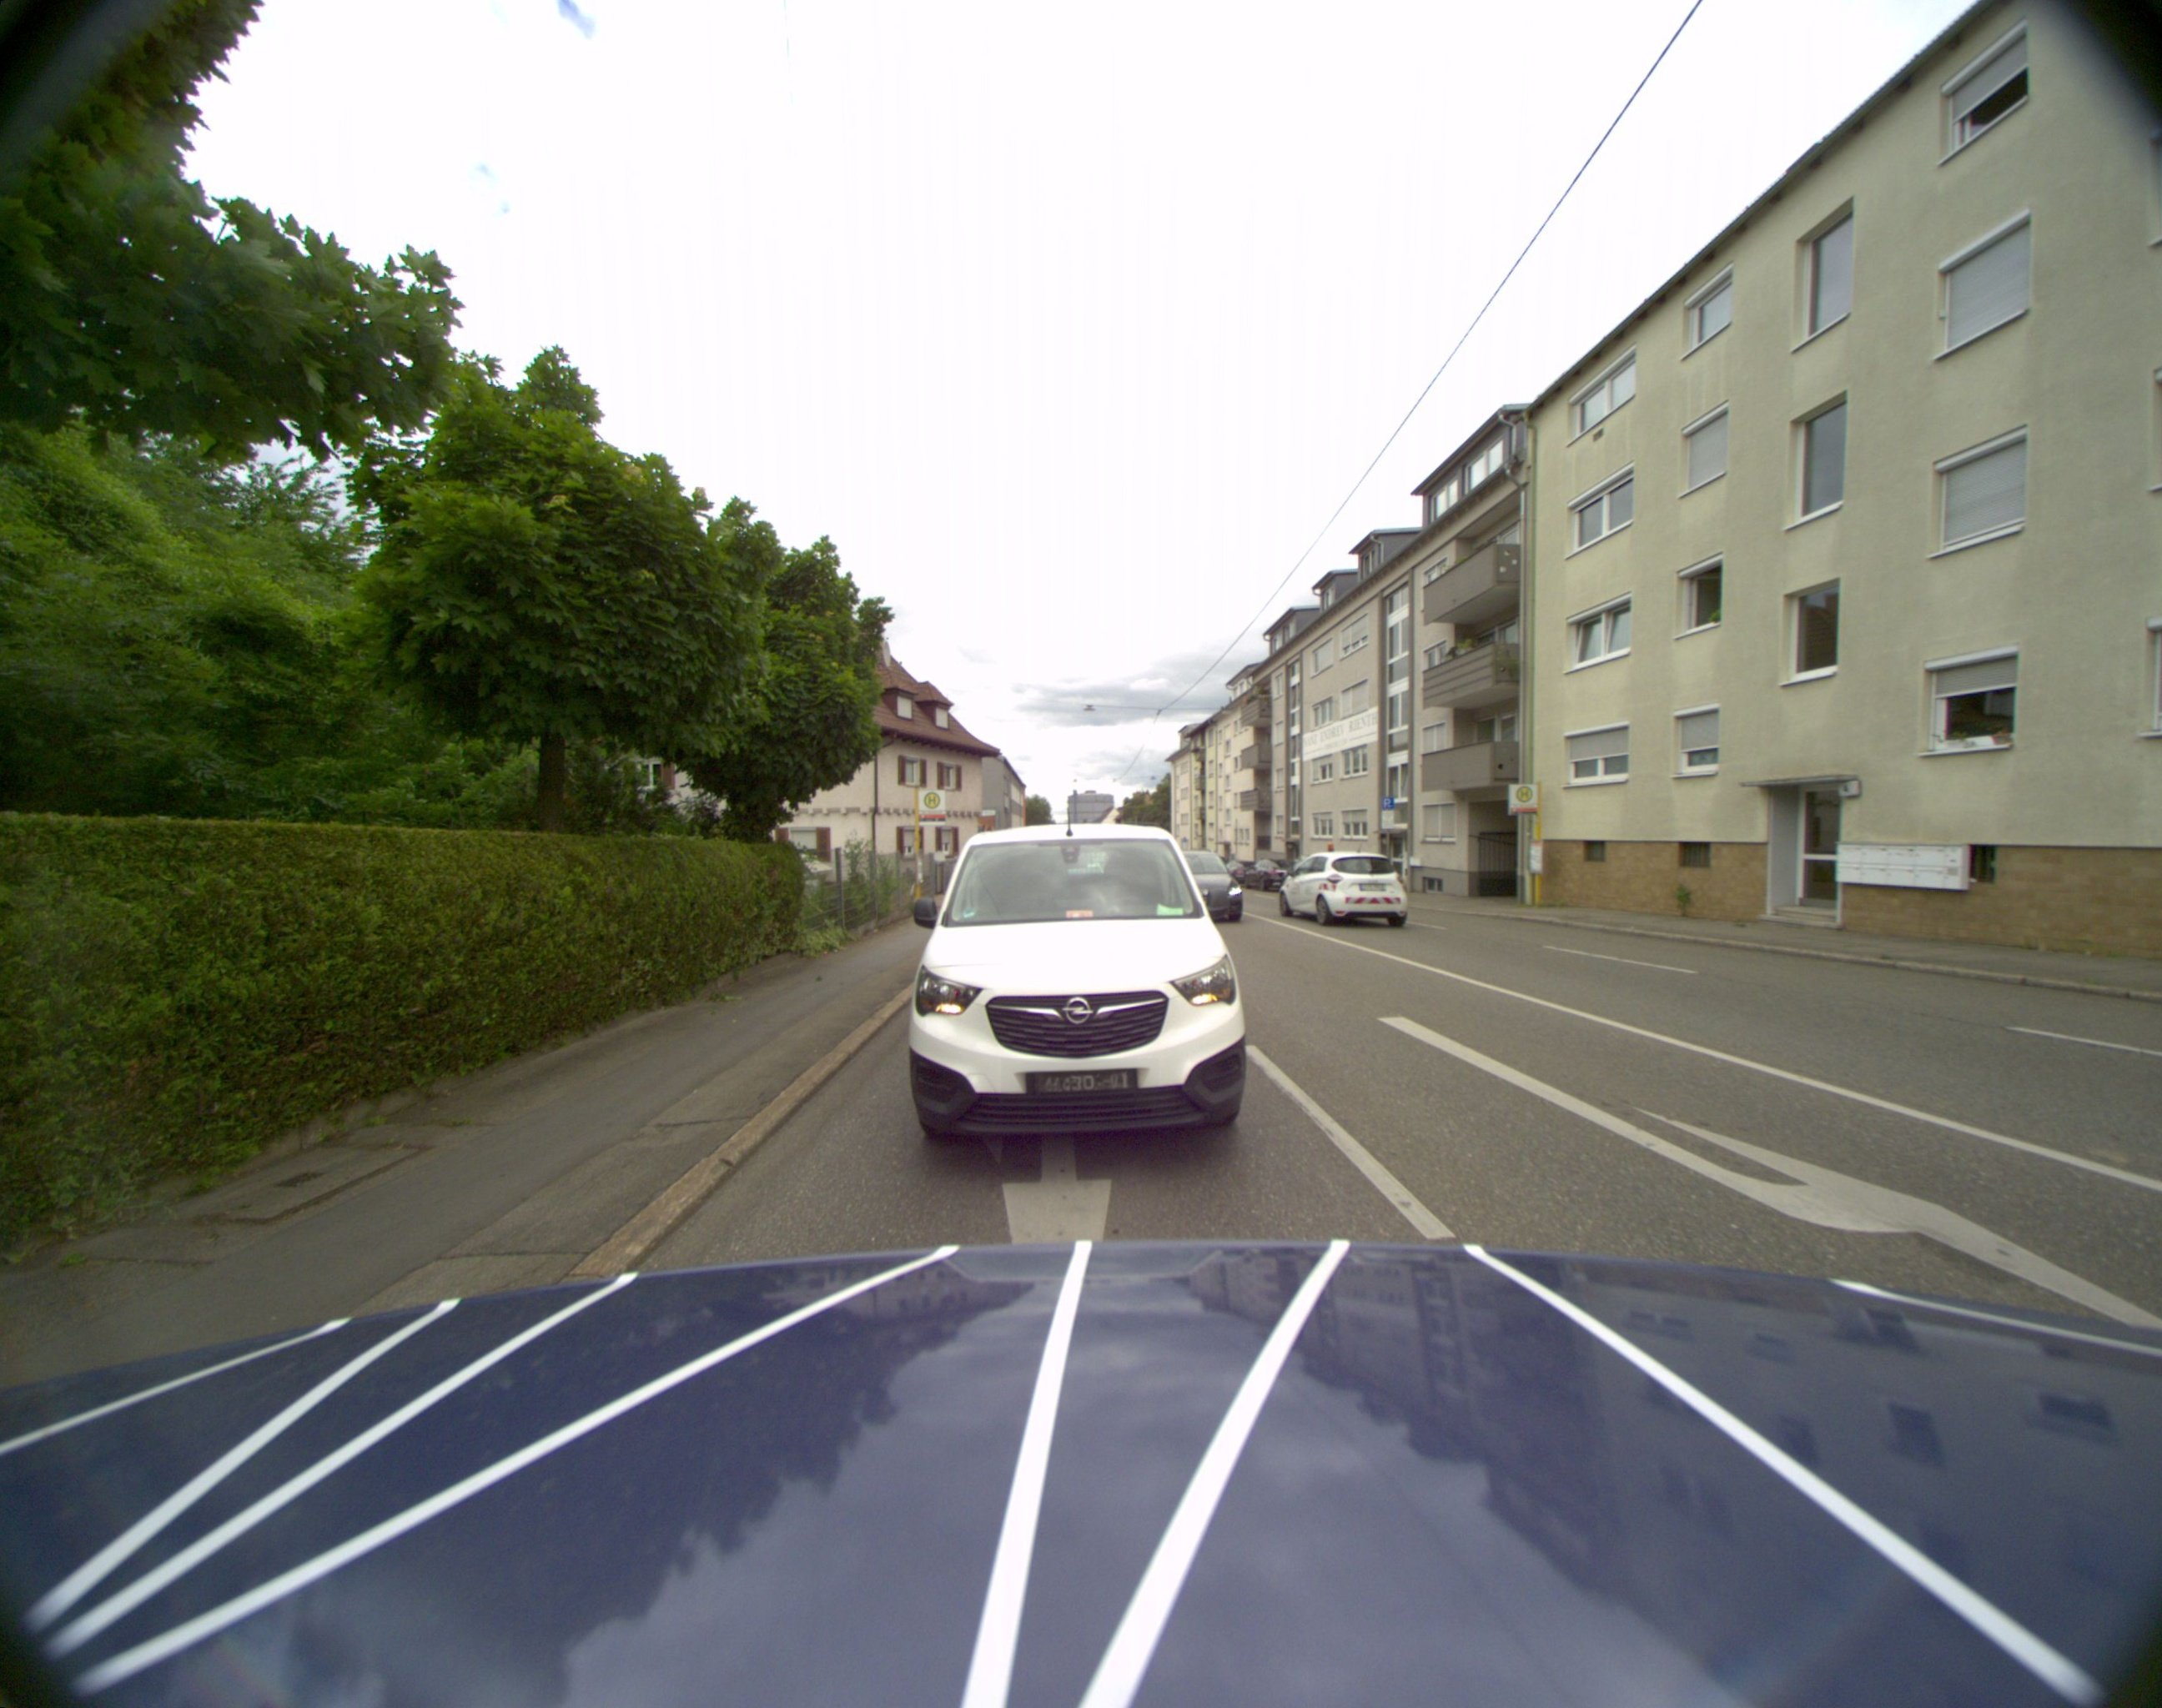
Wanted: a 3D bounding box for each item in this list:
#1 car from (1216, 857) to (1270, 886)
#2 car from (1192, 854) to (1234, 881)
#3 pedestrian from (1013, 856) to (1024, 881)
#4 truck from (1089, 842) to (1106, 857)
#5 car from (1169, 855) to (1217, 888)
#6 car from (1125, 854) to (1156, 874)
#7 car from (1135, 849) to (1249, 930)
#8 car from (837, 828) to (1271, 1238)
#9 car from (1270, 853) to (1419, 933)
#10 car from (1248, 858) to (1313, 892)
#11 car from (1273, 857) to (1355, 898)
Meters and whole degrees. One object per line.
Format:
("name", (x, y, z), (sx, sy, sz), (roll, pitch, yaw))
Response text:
("car", (8.379, 0.899, 39.552), (1.776, 1.395, 3.538), (0, 1, -5))
("car", (8.422, 0.823, 48.686), (1.776, 1.591, 3.538), (0, 1, -5))
("pedestrian", (-4.556, 1.041, 55.317), (0.647, 1.830, 0.592), (-1, 1, 5))
("truck", (2.831, -0.826, 130.665), (2.547, 2.523, 5.491), (-1, 2, -2))
("car", (5.454, 0.814, 37.281), (1.593, 1.474, 3.598), (-1, 1, -4))
("car", (4.427, 0.719, 57.448), (1.776, 1.395, 3.642), (0, 1, -5))
("car", (2.488, 0.723, 18.109), (1.863, 1.601, 4.478), (-2, 1, -2))
("car", (-0.086, 0.776, 5.736), (1.862, 1.772, 4.711), (-2, 1, 1))
("car", (5.663, 0.760, 16.892), (1.775, 1.513, 4.082), (0, 1, -2))
("car", (8.719, 0.905, 33.524), (1.669, 1.368, 3.538), (0, 1, -5))
("car", (8.847, 0.866, 29.141), (1.776, 1.403, 3.685), (0, 1, -5))
